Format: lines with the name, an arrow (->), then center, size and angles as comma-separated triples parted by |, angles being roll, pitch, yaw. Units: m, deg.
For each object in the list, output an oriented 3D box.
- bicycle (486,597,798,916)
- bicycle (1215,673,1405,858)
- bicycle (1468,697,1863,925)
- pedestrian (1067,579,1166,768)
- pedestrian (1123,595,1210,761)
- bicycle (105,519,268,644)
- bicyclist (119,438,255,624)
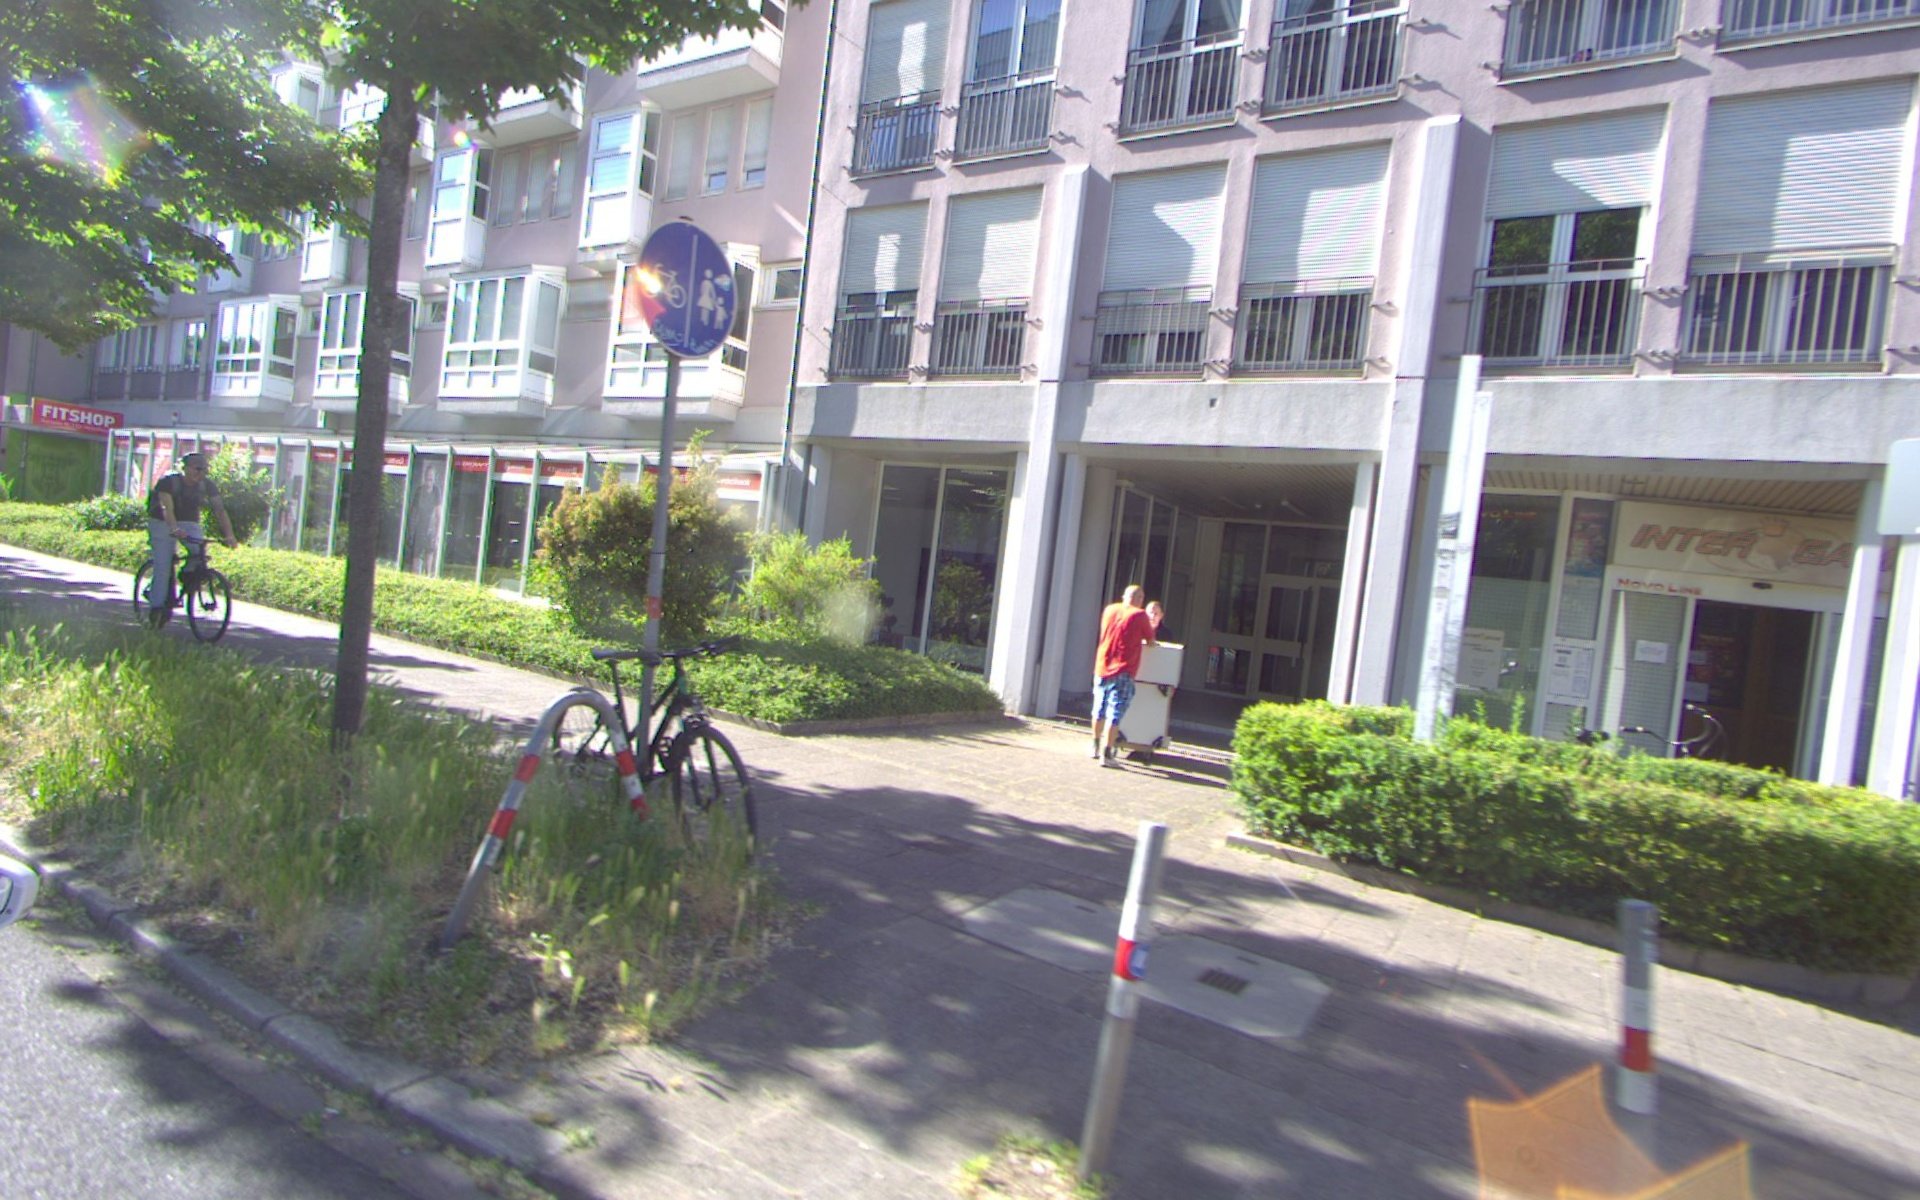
bicycle -> -1.622, 0.635, 4.851 | 0.588, 1.079, 1.998 | 6, 1, -41
bicycle -> 2.675, 1.134, 7.503 | 0.676, 1.041, 2.195 | 10, 3, 33
bicycle -> 5.079, 1.444, 7.400 | 2.171, 1.041, 0.684 | 11, 4, 41
pedestrian -> 1.446, 0.649, 9.253 | 0.593, 1.626, 0.653 | 7, 4, 26
pedestrian -> 2.160, 0.782, 10.501 | 0.593, 1.626, 0.653 | 7, 4, 26
bicycle -> -7.676, -0.194, 9.957 | 1.829, 1.040, 0.590 | 6, 1, 31
bicyclist -> -7.656, -0.677, 9.972 | 0.874, 1.716, 0.668 | 7, 0, 31
